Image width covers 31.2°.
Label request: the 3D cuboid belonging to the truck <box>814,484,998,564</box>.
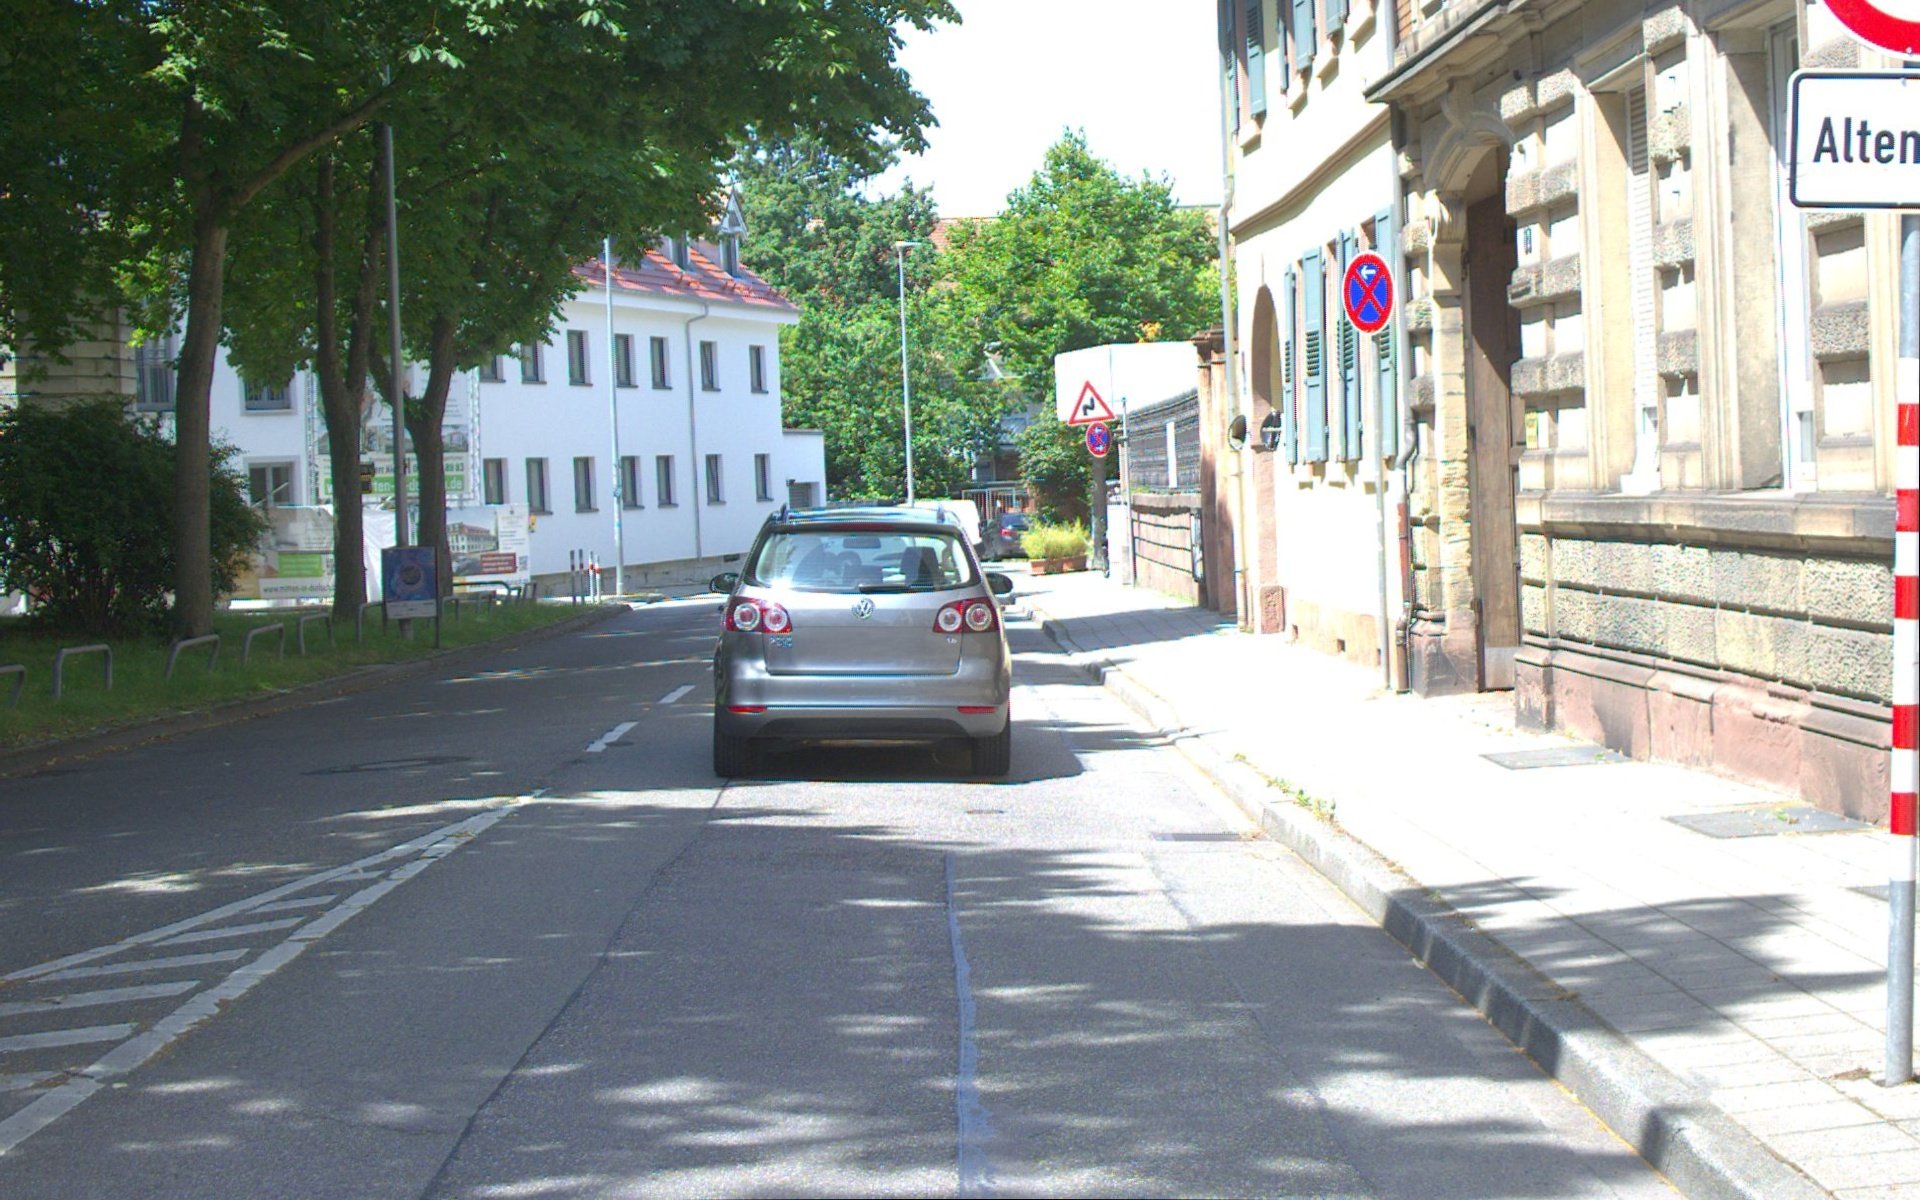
[{"bbox_3d":[-1.508,-2.099,94.572,4.792,2.006,2.146,-2,2,-7],"label":"truck"}]

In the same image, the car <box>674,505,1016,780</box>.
[{"bbox_3d":[-0.611,0.178,21.256,1.903,1.528,4.244,0,2,1],"label":"car"}]

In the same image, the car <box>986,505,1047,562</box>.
[{"bbox_3d":[1.615,-1.937,99.421,1.647,1.568,3.639,-1,2,0],"label":"car"}]
